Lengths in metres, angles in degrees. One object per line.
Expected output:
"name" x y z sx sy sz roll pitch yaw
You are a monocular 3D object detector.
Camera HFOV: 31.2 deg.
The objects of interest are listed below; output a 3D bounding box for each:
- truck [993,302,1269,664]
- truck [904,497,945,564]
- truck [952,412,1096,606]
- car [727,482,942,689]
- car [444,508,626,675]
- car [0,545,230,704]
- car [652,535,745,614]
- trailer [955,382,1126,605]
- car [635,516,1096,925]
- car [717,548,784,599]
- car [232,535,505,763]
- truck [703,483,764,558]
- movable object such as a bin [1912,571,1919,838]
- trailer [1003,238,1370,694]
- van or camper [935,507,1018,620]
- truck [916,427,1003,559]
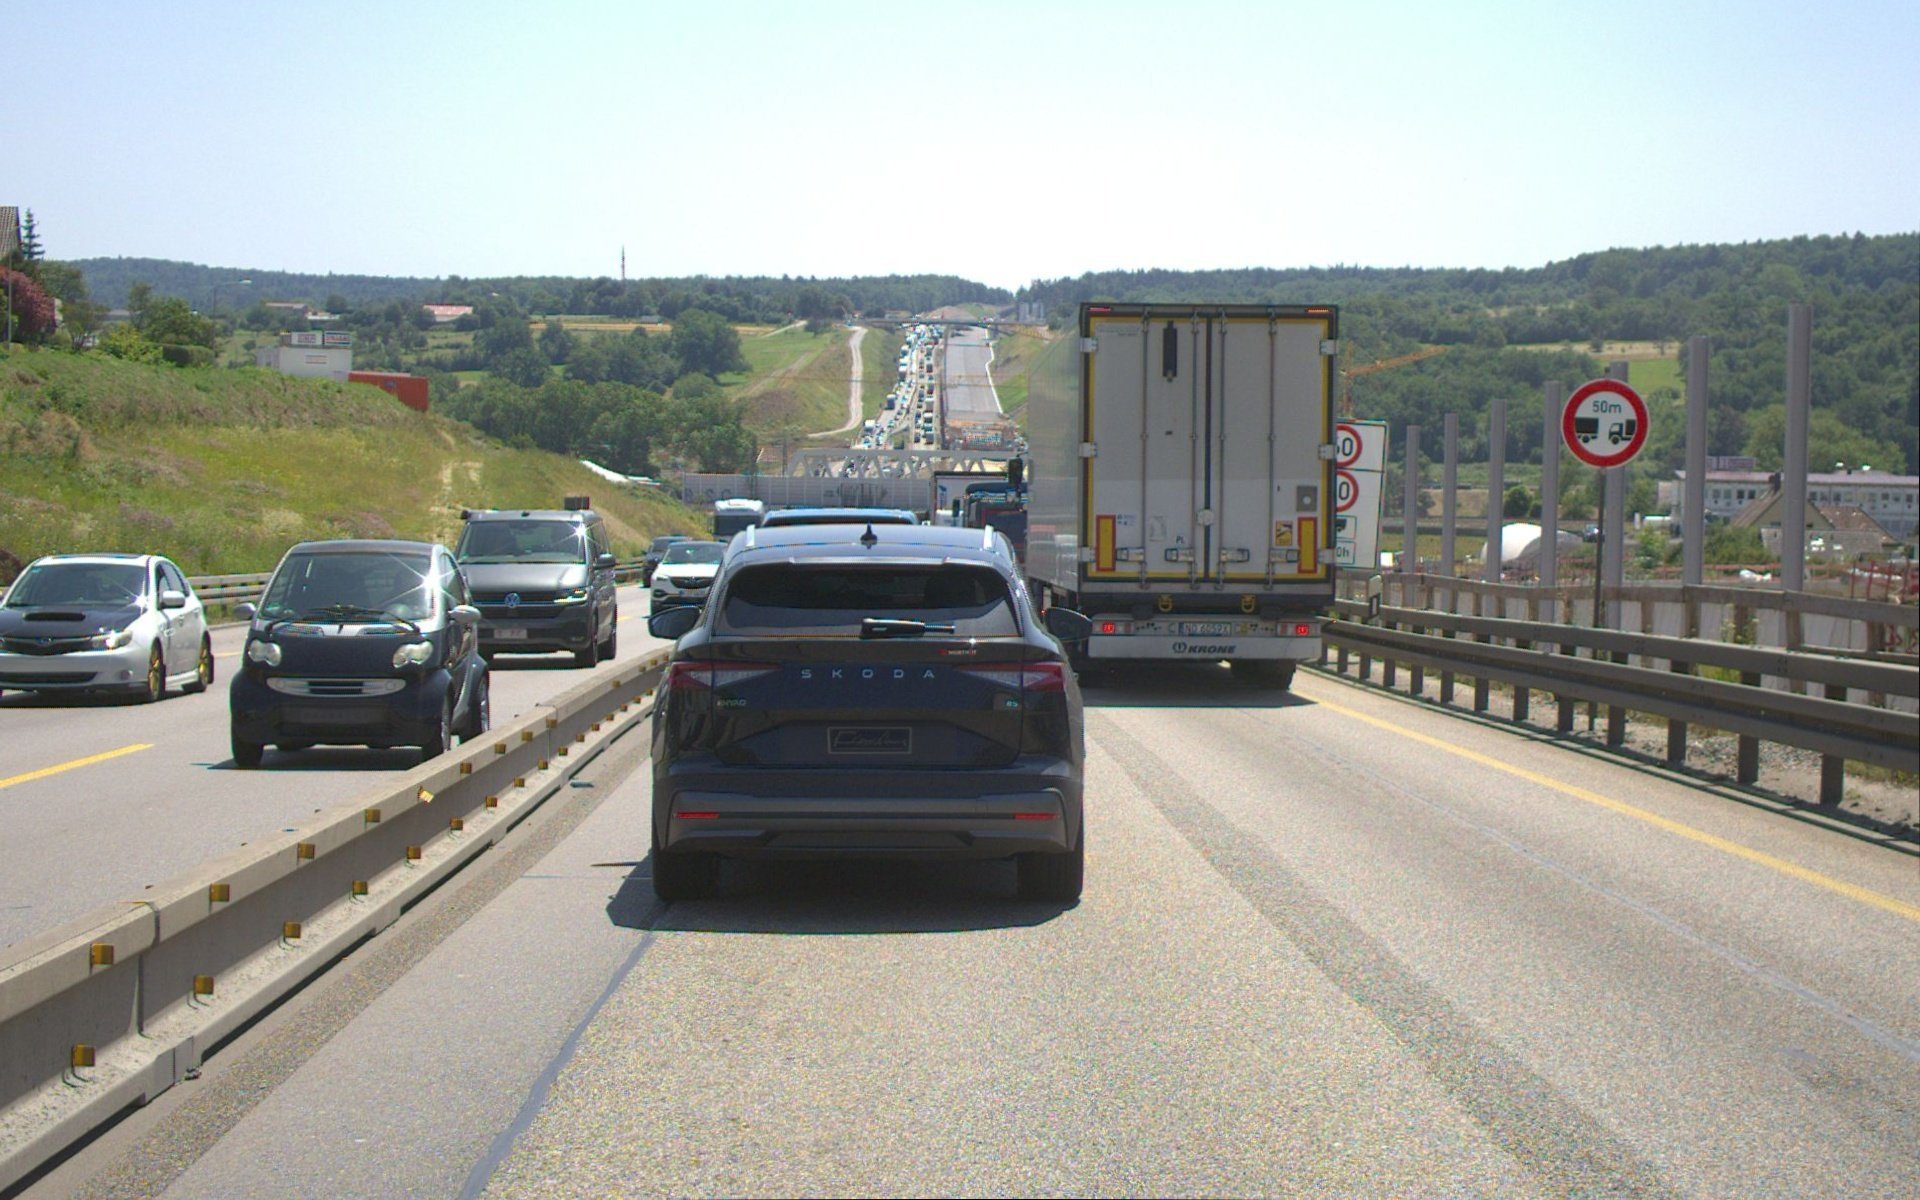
"truck" 2.181 -1.555 47.121 3.180 4.497 8.166 0 1 -1
"truck" -2.365 -4.595 229.332 2.639 4.179 9.284 0 0 -1
"truck" 1.488 -2.122 84.543 3.180 4.498 8.166 0 0 -1
"car" -1.230 -0.124 34.385 1.993 1.919 4.508 0 0 -1
"car" -5.389 -0.137 44.105 1.910 2.007 4.907 0 1 -2
"car" -8.534 0.186 33.820 1.809 1.426 4.556 1 1 -1
"car" -5.567 -0.566 73.511 1.806 1.634 4.173 0 1 -2
"trailer" 1.626 -2.152 77.366 3.180 4.498 14.967 0 0 -1
"car" -0.387 0.461 15.538 1.802 1.602 4.000 0 0 0
"car" -6.185 -0.793 102.065 1.798 1.461 4.356 -1 1 -1
"car" -4.094 0.304 24.131 1.483 1.500 2.805 0 1 -1
"truck" -11.316 -3.960 171.891 2.779 3.660 6.278 0 1 -2
"movable object such as a bin" 18.664 1.841 56.304 3.227 4.727 9.656 0 0 -1
"trailer" 2.324 -1.470 40.632 3.180 4.497 13.110 0 1 -1
"van or camper" 0.525 -1.045 102.583 2.389 3.269 6.468 0 0 1
"truck" -0.086 -3.855 127.289 2.852 4.450 11.918 0 0 -2
